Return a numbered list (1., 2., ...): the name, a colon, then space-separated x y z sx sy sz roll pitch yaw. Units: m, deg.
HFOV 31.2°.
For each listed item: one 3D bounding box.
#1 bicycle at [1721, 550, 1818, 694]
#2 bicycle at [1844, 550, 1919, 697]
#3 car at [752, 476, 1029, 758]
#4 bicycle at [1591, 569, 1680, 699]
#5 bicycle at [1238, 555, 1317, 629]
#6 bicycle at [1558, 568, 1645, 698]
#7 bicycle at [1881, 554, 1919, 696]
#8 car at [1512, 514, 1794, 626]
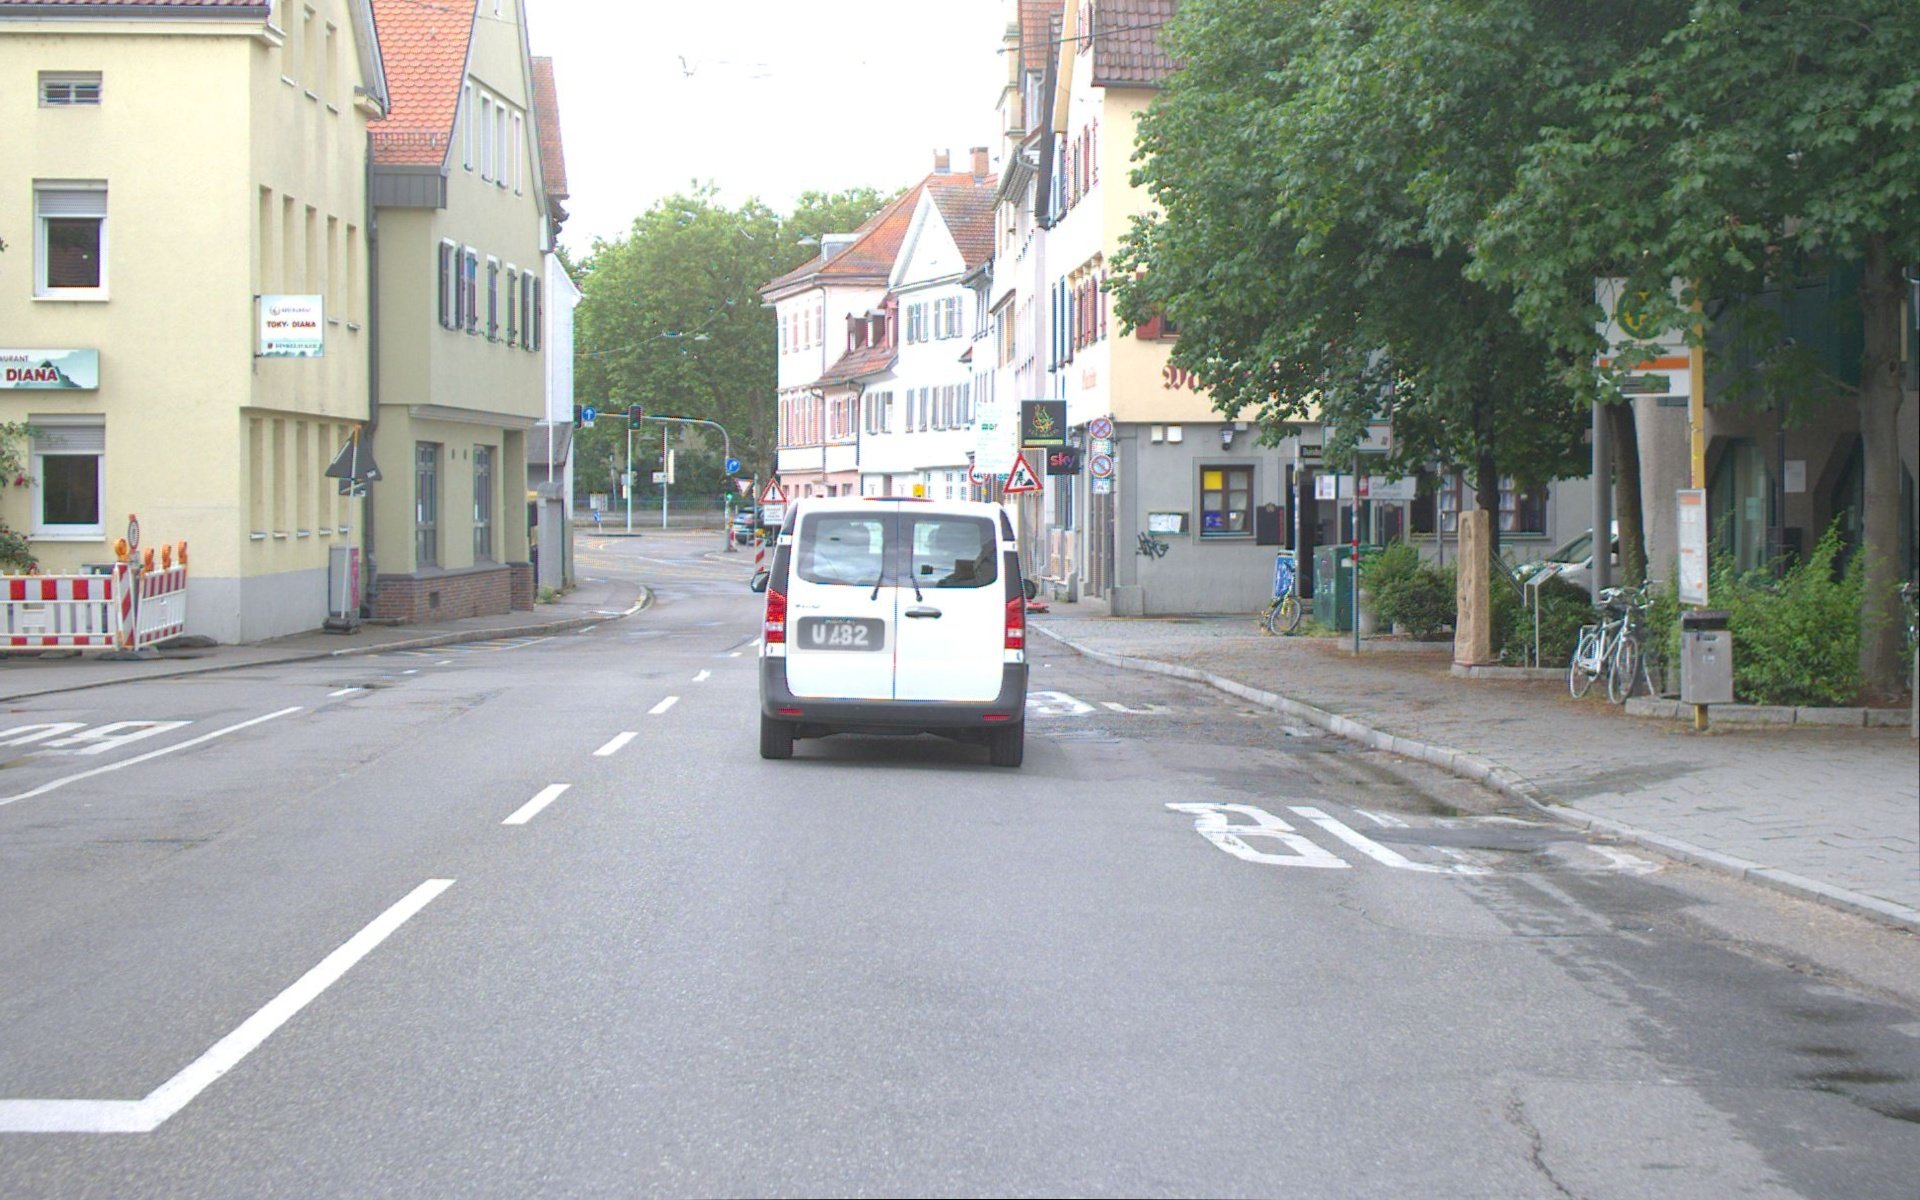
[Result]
1. bicycle: 7.549 0.186 32.115 0.333 1.296 1.959 1 1 -2
2. bicycle: 8.536 0.194 31.346 0.333 1.296 1.959 1 1 -2
3. car: -0.480 0.094 25.358 1.872 1.905 4.000 0 1 0
4. bicycle: 6.209 0.295 31.672 0.333 1.138 1.959 1 1 -2
5. bicycle: 4.810 -0.129 52.138 0.499 1.102 1.639 -1 1 -21
6. bicycle: 5.875 0.284 31.557 0.333 1.137 1.959 1 1 -2
7. bicycle: 8.936 0.229 31.548 0.333 1.296 1.959 1 1 -2
8. car: 11.639 -0.521 57.886 4.240 1.791 1.849 0 3 -10
